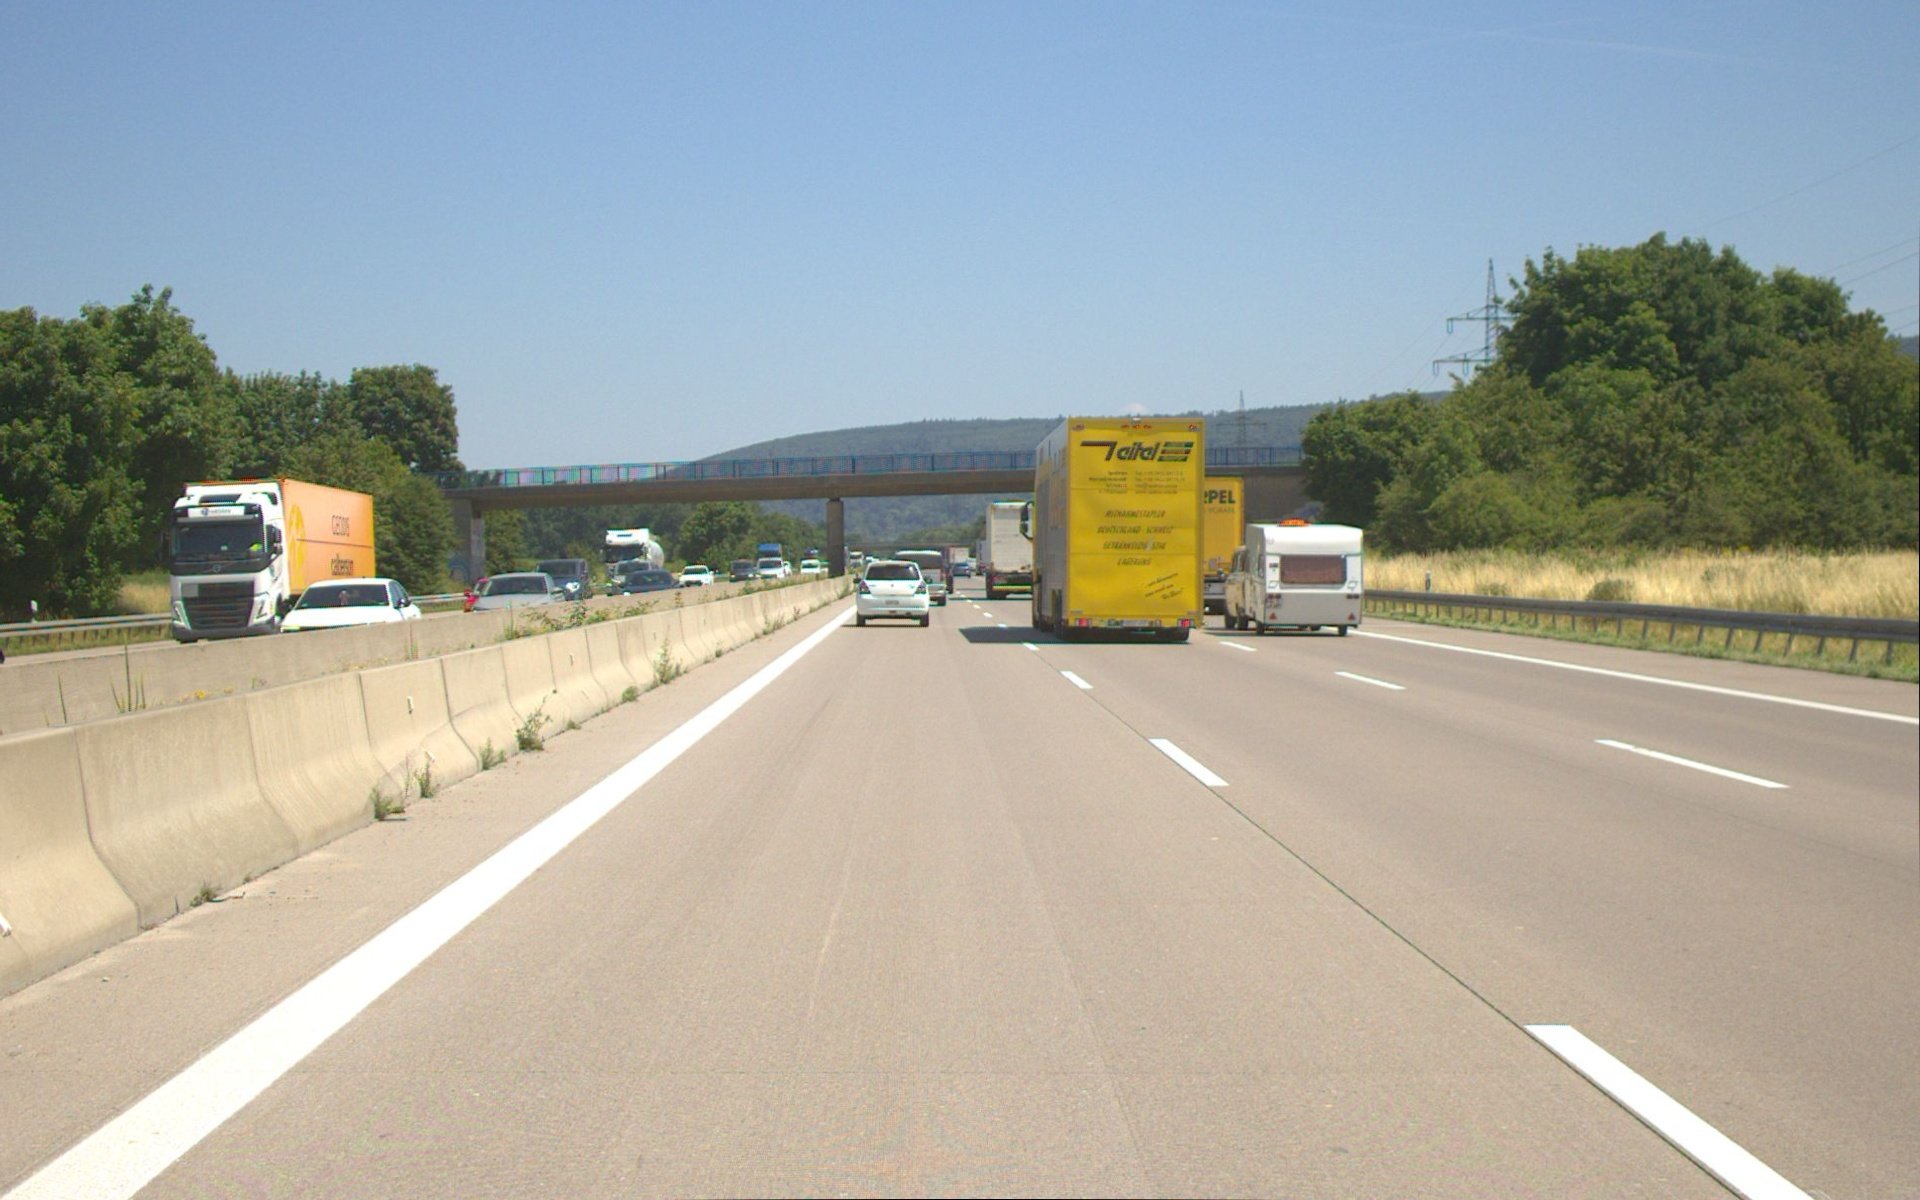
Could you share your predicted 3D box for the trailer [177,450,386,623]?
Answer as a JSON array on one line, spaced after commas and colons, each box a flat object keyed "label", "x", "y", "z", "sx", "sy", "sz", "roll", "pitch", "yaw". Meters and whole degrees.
[{"label": "trailer", "x": -18.001, "y": -1.666, "z": 92.288, "sx": 2.873, "sy": 4.183, "sz": 14.141, "roll": -2, "pitch": 1, "yaw": -1}]

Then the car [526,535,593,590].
[{"label": "car", "x": -15.062, "y": -1.428, "z": 129.579, "sx": 1.931, "sy": 1.993, "sz": 5.518, "roll": 1, "pitch": 1, "yaw": -1}]

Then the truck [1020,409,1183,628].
[{"label": "truck", "x": 3.018, "y": -1.768, "z": 75.107, "sx": 3.216, "sy": 4.548, "sz": 5.836, "roll": 1, "pitch": 1, "yaw": 0}]

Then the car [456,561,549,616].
[{"label": "car", "x": -12.691, "y": -0.342, "z": 95.621, "sx": 1.993, "sy": 1.389, "sz": 4.717, "roll": -2, "pitch": 1, "yaw": -1}]

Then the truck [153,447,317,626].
[{"label": "truck", "x": -17.871, "y": -1.553, "z": 84.989, "sx": 2.868, "sy": 4.181, "sz": 5.230, "roll": -2, "pitch": 1, "yaw": -1}]

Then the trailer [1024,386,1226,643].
[{"label": "trailer", "x": 3.074, "y": -1.649, "z": 68.207, "sx": 3.216, "sy": 4.548, "sz": 13.457, "roll": 1, "pitch": 1, "yaw": 0}]

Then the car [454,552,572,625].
[{"label": "car", "x": -9.730, "y": -0.281, "z": 75.165, "sx": 1.993, "sy": 1.480, "sz": 4.710, "roll": -1, "pitch": 1, "yaw": -1}]

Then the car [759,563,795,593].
[{"label": "car", "x": -11.574, "y": -1.410, "z": 217.603, "sx": 1.993, "sy": 1.729, "sz": 5.115, "roll": -2, "pitch": 1, "yaw": -1}]

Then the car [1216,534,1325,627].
[{"label": "car", "x": 6.937, "y": -0.460, "z": 77.088, "sx": 1.993, "sy": 2.007, "sz": 4.000, "roll": 1, "pitch": 1, "yaw": -1}]

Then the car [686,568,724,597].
[{"label": "car", "x": -15.147, "y": -1.035, "z": 204.438, "sx": 1.923, "sy": 1.606, "sz": 4.686, "roll": -2, "pitch": 1, "yaw": -1}]

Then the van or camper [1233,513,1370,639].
[{"label": "van or camper", "x": 7.126, "y": -0.538, "z": 72.332, "sx": 2.224, "sy": 2.522, "sz": 5.431, "roll": 1, "pitch": 1, "yaw": -1}]

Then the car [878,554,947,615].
[{"label": "car", "x": -1.599, "y": -0.557, "z": 118.102, "sx": 2.254, "sy": 2.007, "sz": 4.298, "roll": 1, "pitch": 1, "yaw": 0}]

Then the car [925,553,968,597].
[{"label": "car", "x": -0.648, "y": -1.177, "z": 162.315, "sx": 1.993, "sy": 2.007, "sz": 4.000, "roll": 1, "pitch": 1, "yaw": -1}]

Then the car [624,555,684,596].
[{"label": "car", "x": -10.309, "y": -0.836, "z": 115.991, "sx": 1.690, "sy": 1.327, "sz": 4.000, "roll": 1, "pitch": 1, "yaw": -1}]

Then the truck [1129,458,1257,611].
[{"label": "truck", "x": 6.831, "y": -1.934, "z": 102.229, "sx": 2.999, "sy": 4.299, "sz": 9.684, "roll": 1, "pitch": 1, "yaw": 0}]

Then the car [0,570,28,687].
[{"label": "car", "x": -13.832, "y": 0.455, "z": 45.044, "sx": 1.993, "sy": 1.555, "sz": 4.513, "roll": -3, "pitch": 1, "yaw": -1}]

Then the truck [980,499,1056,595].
[{"label": "truck", "x": 2.292, "y": -2.141, "z": 138.219, "sx": 2.820, "sy": 3.748, "sz": 6.284, "roll": 1, "pitch": 1, "yaw": -1}]

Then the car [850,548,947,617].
[{"label": "car", "x": -1.404, "y": -0.430, "z": 80.219, "sx": 2.107, "sy": 1.530, "sz": 4.122, "roll": 1, "pitch": 1, "yaw": 1}]

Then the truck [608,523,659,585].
[{"label": "truck", "x": -19.392, "y": -2.747, "z": 204.197, "sx": 2.601, "sy": 3.576, "sz": 4.720, "roll": 1, "pitch": 1, "yaw": -1}]

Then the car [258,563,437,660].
[{"label": "car", "x": -9.604, "y": 0.147, "z": 54.239, "sx": 1.993, "sy": 1.359, "sz": 4.671, "roll": -2, "pitch": 1, "yaw": -1}]
